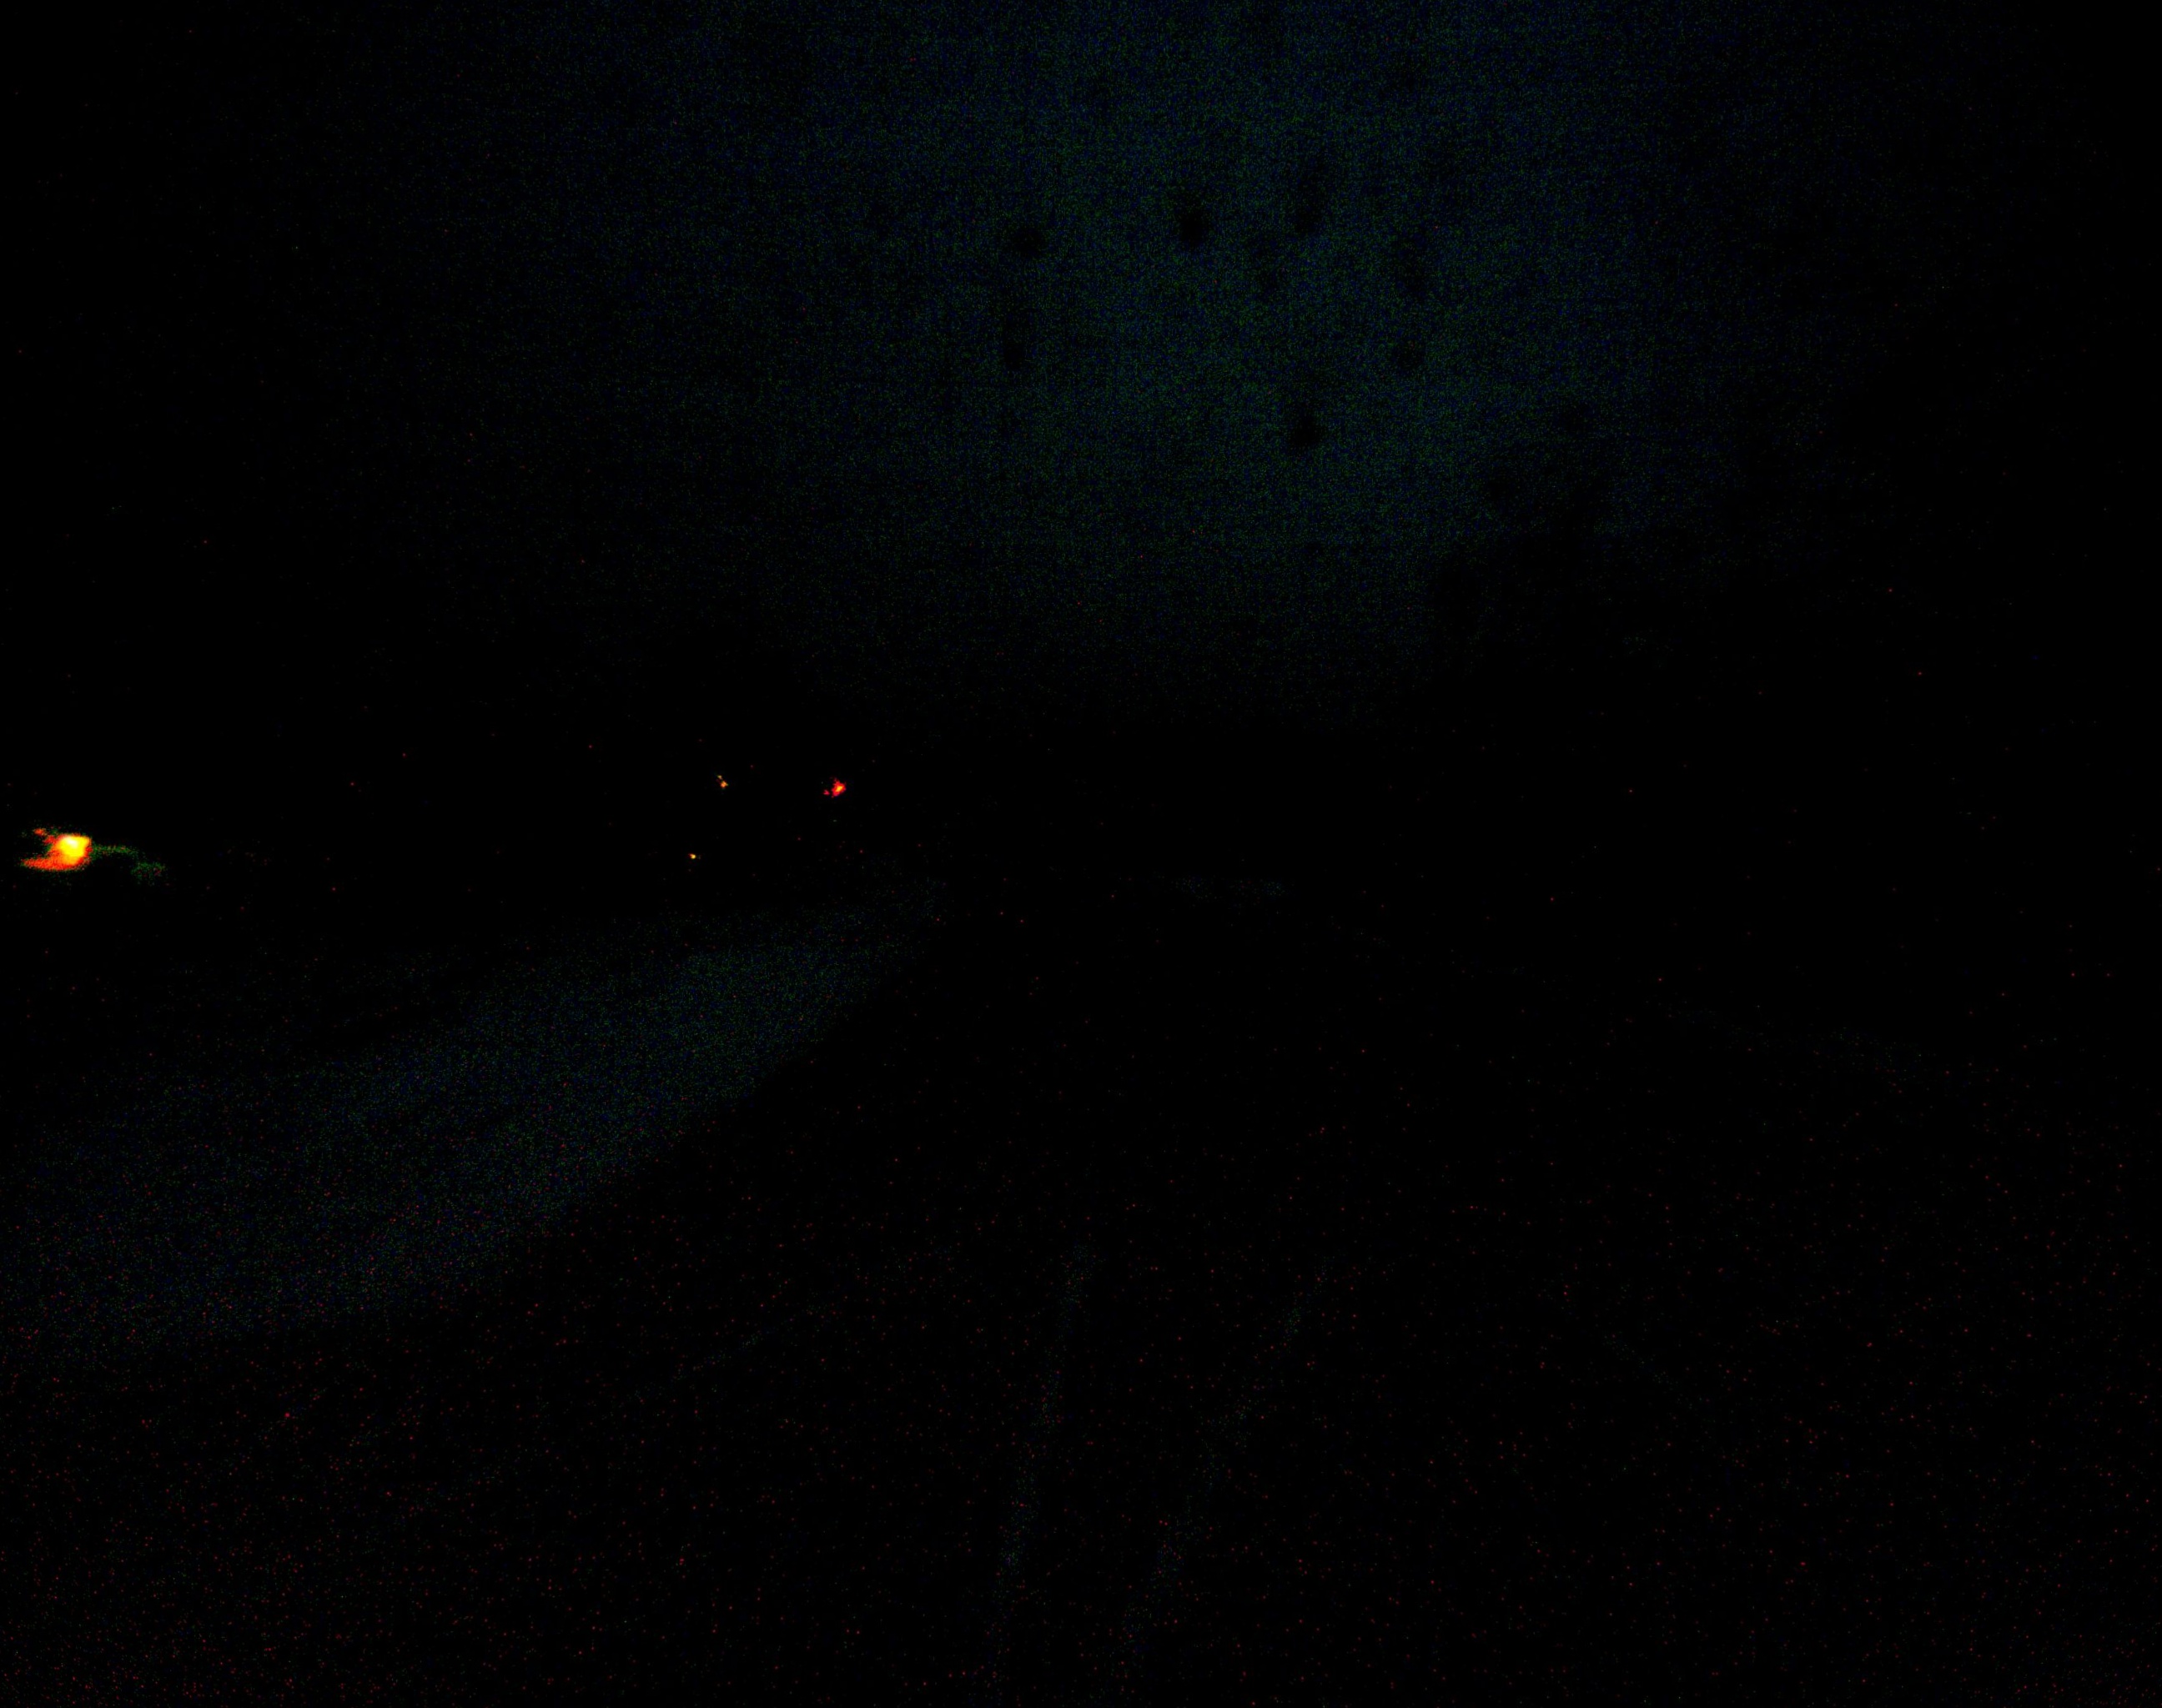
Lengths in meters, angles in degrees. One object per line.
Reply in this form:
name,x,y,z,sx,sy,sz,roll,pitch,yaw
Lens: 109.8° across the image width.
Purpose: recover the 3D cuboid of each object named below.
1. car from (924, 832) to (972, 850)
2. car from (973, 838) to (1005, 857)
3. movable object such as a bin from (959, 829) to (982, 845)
car,-16.394,-1.565,93.539,5.287,2.003,2.207,1,5,-29
car,-7.826,-0.595,64.532,1.726,1.525,3.508,1,1,-25
movable object such as a bin,-12.079,-1.865,83.396,2.370,1.640,1.440,-2,3,-5
